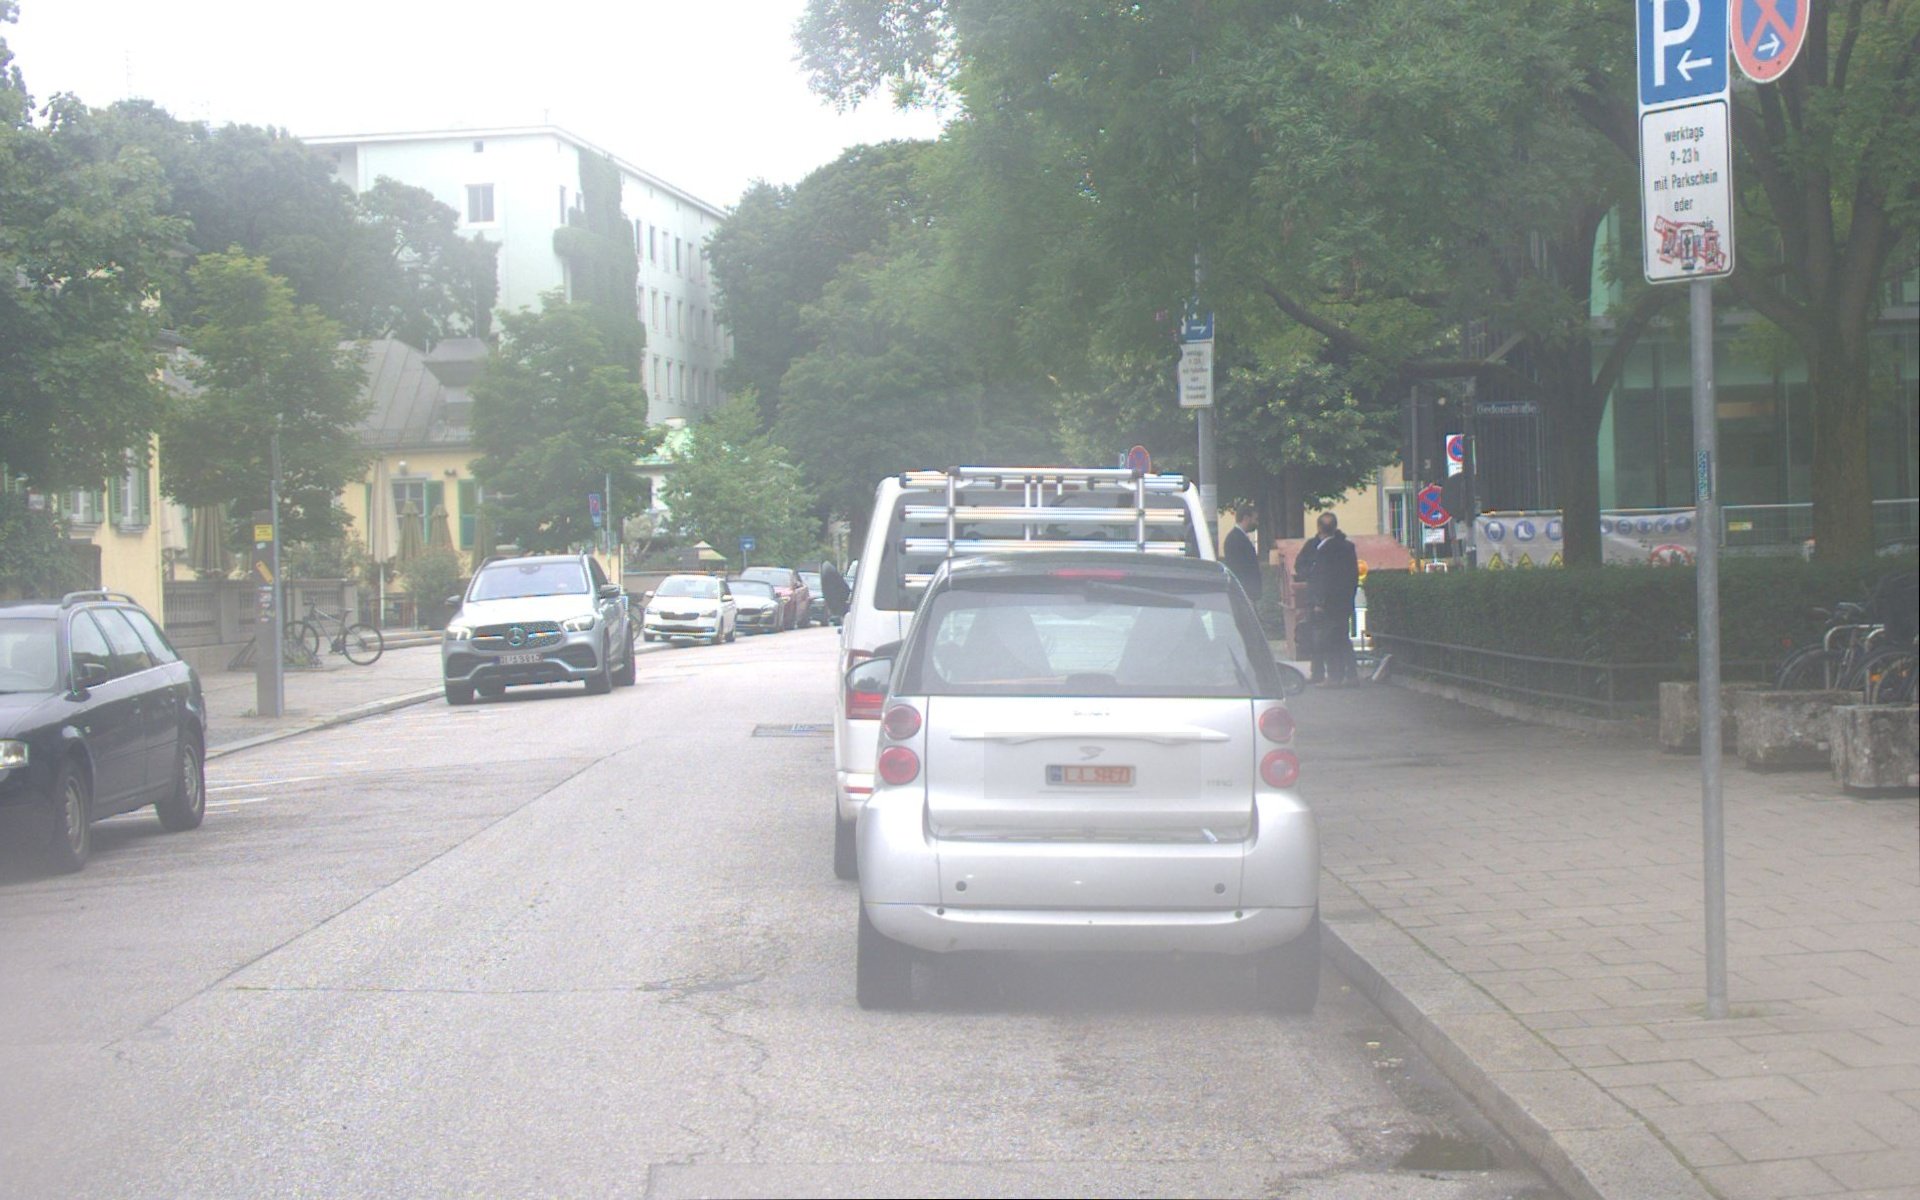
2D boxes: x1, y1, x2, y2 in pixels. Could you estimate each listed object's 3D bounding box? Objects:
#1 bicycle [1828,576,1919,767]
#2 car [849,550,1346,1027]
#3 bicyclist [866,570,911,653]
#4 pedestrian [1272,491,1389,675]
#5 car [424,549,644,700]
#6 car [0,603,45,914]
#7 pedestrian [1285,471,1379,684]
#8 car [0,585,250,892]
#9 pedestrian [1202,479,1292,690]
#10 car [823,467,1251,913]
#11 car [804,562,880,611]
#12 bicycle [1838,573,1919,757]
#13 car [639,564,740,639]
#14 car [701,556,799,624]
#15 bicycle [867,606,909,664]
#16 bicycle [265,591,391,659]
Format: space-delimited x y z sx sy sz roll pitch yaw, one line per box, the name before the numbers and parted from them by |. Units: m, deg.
bicycle | 6.296 0.393 20.768 1.931 1.109 0.471 -3 1 2
car | 0.439 0.594 12.648 1.605 1.541 2.934 0 1 0
bicyclist | -1.202 0.189 58.127 0.704 1.388 0.868 1 0 1
pedestrian | 3.933 -0.181 36.483 0.744 1.901 1.054 -2 1 35
car | -5.226 0.253 42.753 2.025 1.683 4.677 -2 1 1
car | -5.384 0.801 14.302 1.922 1.434 4.918 -4 0 -2
pedestrian | 3.812 -0.233 35.270 0.742 2.127 1.056 -2 0 -1
car | -5.598 0.730 19.564 1.993 1.485 4.883 -3 1 1
pedestrian | 2.964 -0.167 35.617 0.742 2.127 1.056 -2 0 -1
car | 0.268 0.364 17.747 1.845 1.926 5.273 1 1 -2
car | -3.798 -0.452 111.018 1.994 1.481 4.000 -2 1 4
bicycle | 6.557 0.367 21.558 1.931 1.109 0.471 -3 1 1
car | -5.910 0.014 75.501 1.734 1.576 3.787 1 1 3
car | -5.351 -0.269 88.088 1.994 1.643 4.655 -1 1 2
bicycle | -1.215 0.583 58.119 0.626 0.952 1.860 1 0 1
bicycle | -10.310 0.404 56.111 1.931 1.095 0.615 0 1 3
